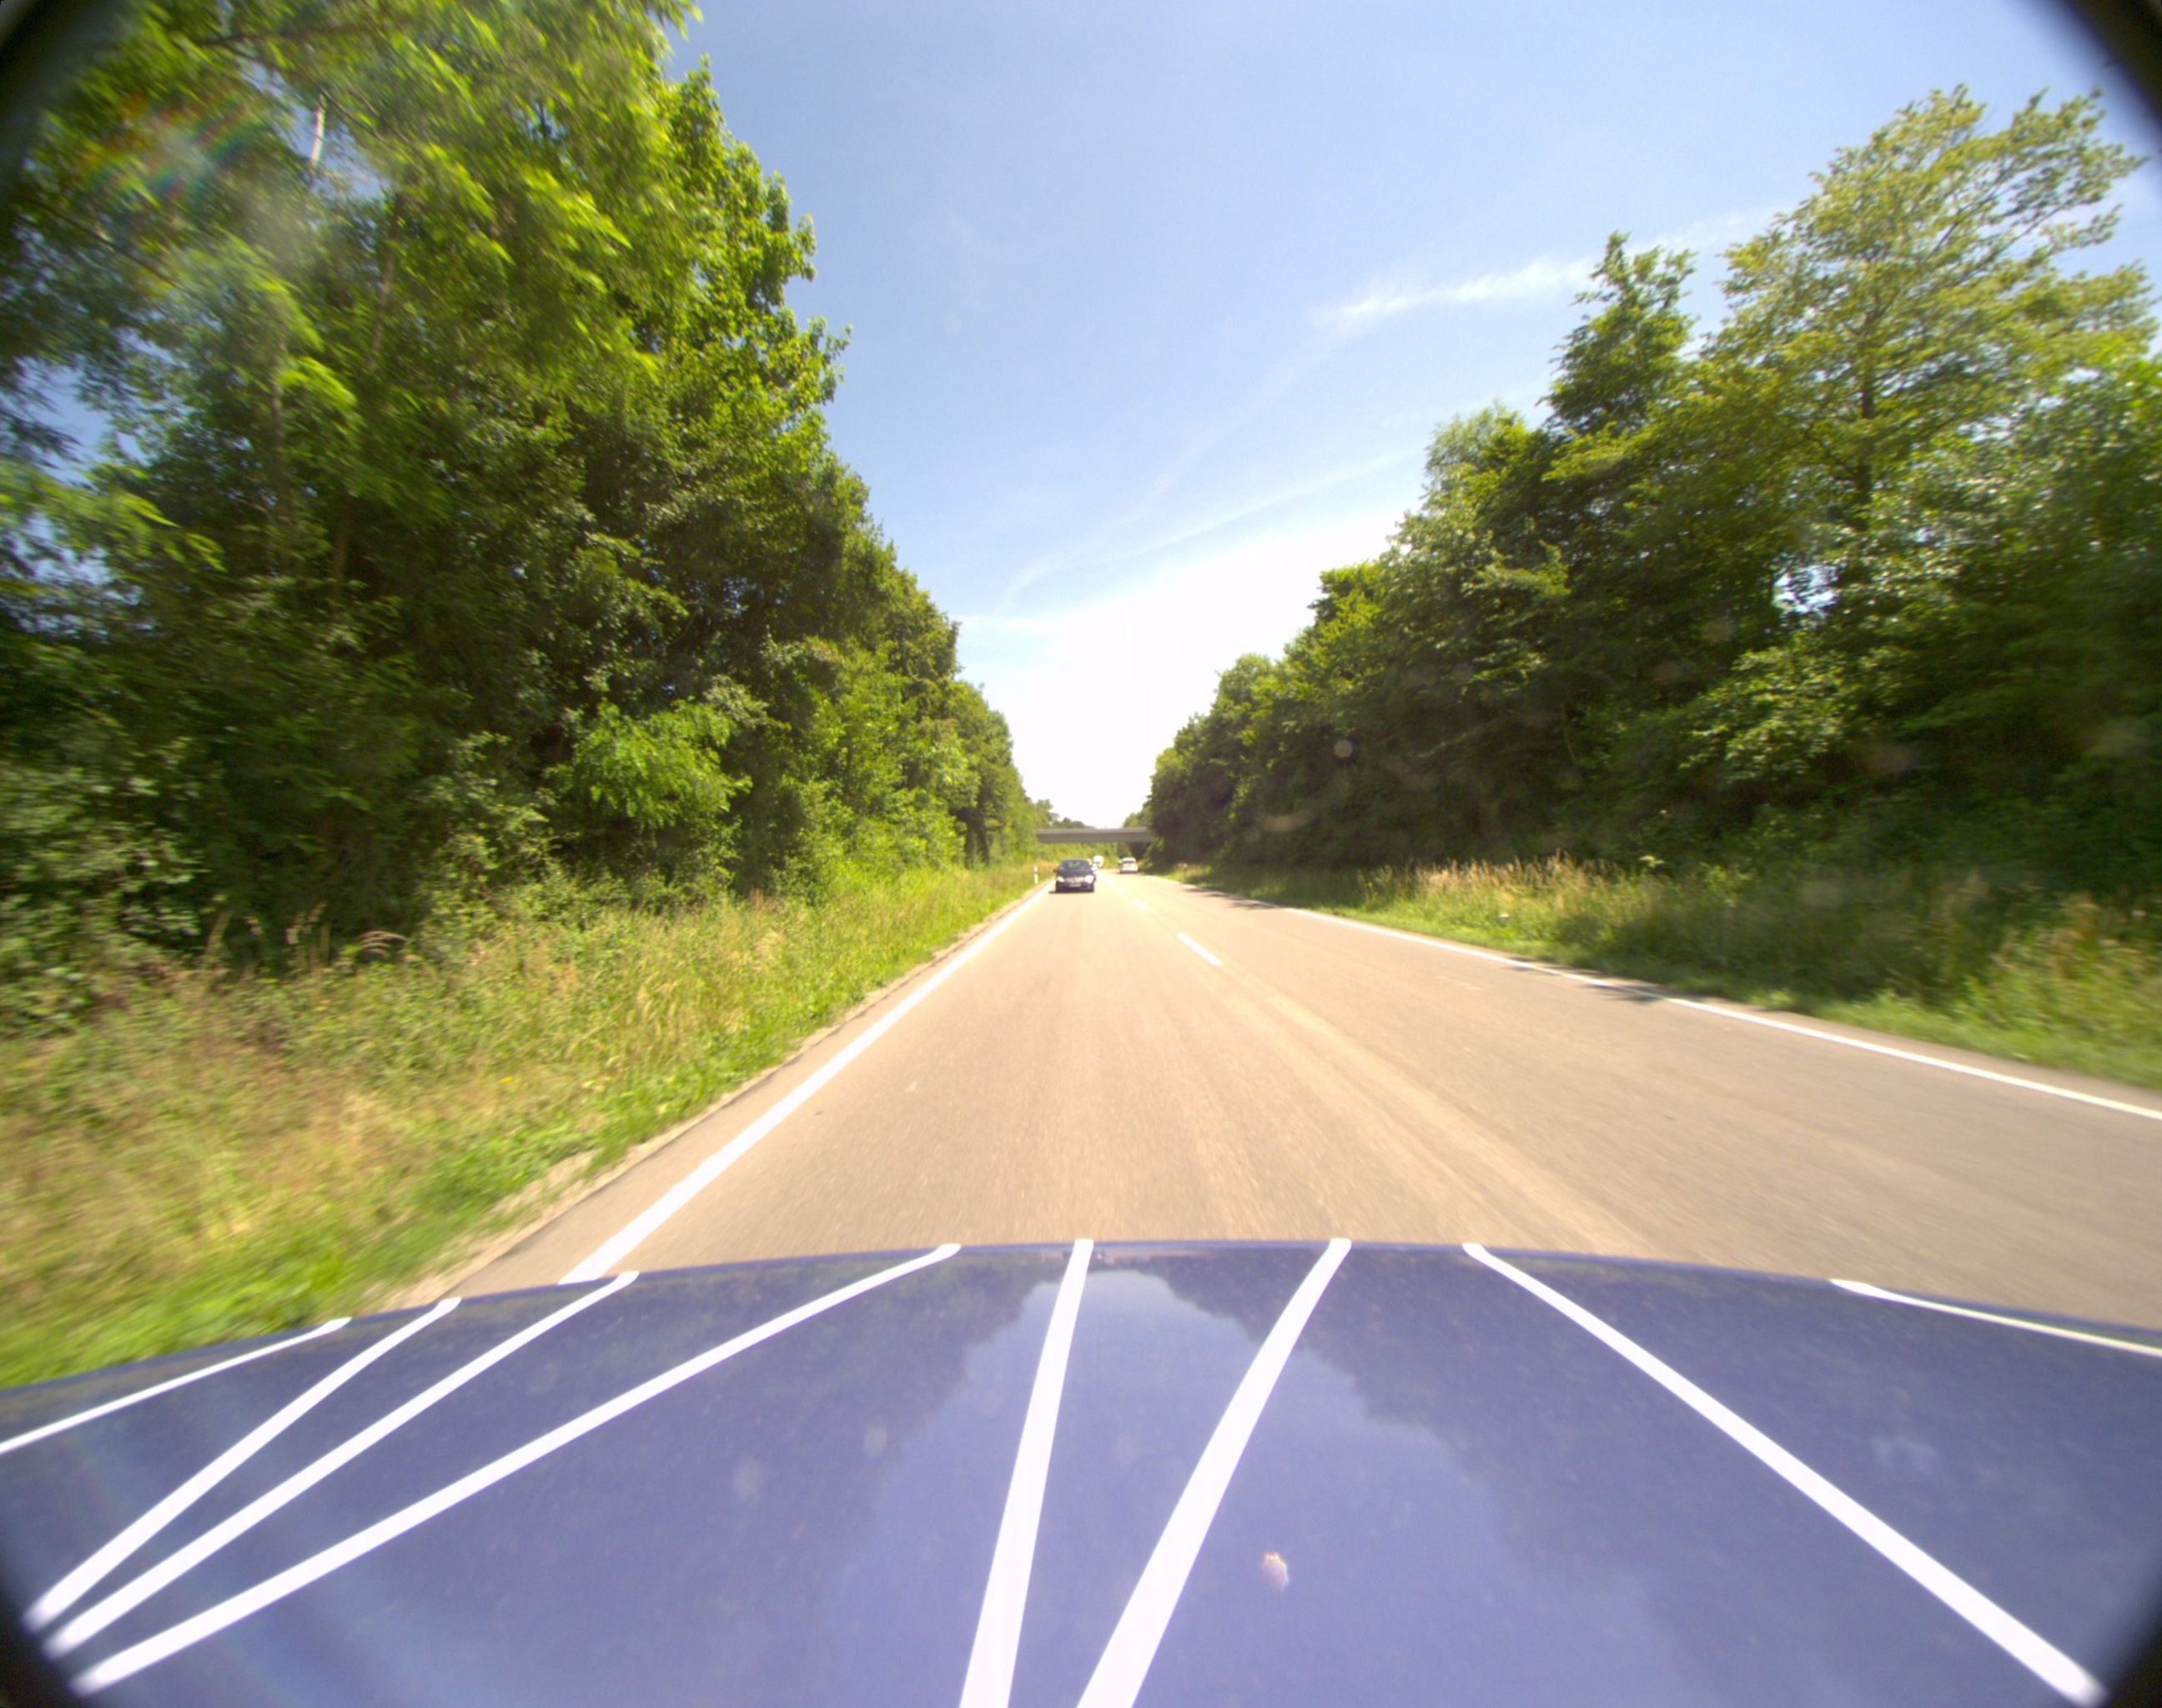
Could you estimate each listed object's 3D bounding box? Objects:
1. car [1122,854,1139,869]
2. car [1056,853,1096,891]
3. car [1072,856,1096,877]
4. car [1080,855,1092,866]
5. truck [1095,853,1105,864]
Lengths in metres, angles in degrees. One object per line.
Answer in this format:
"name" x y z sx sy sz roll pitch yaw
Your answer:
"car" 5.130 0.771 79.281 1.516 1.583 3.793 -1 0 1
"car" -0.197 0.853 36.150 1.783 1.675 4.780 -1 -1 1
"car" 0.213 0.922 56.549 1.709 1.444 5.415 -1 -1 0
"car" 0.840 1.022 129.447 2.045 1.743 4.166 -2 0 0
"truck" 5.906 1.371 234.529 2.577 3.111 11.198 -4 0 0
